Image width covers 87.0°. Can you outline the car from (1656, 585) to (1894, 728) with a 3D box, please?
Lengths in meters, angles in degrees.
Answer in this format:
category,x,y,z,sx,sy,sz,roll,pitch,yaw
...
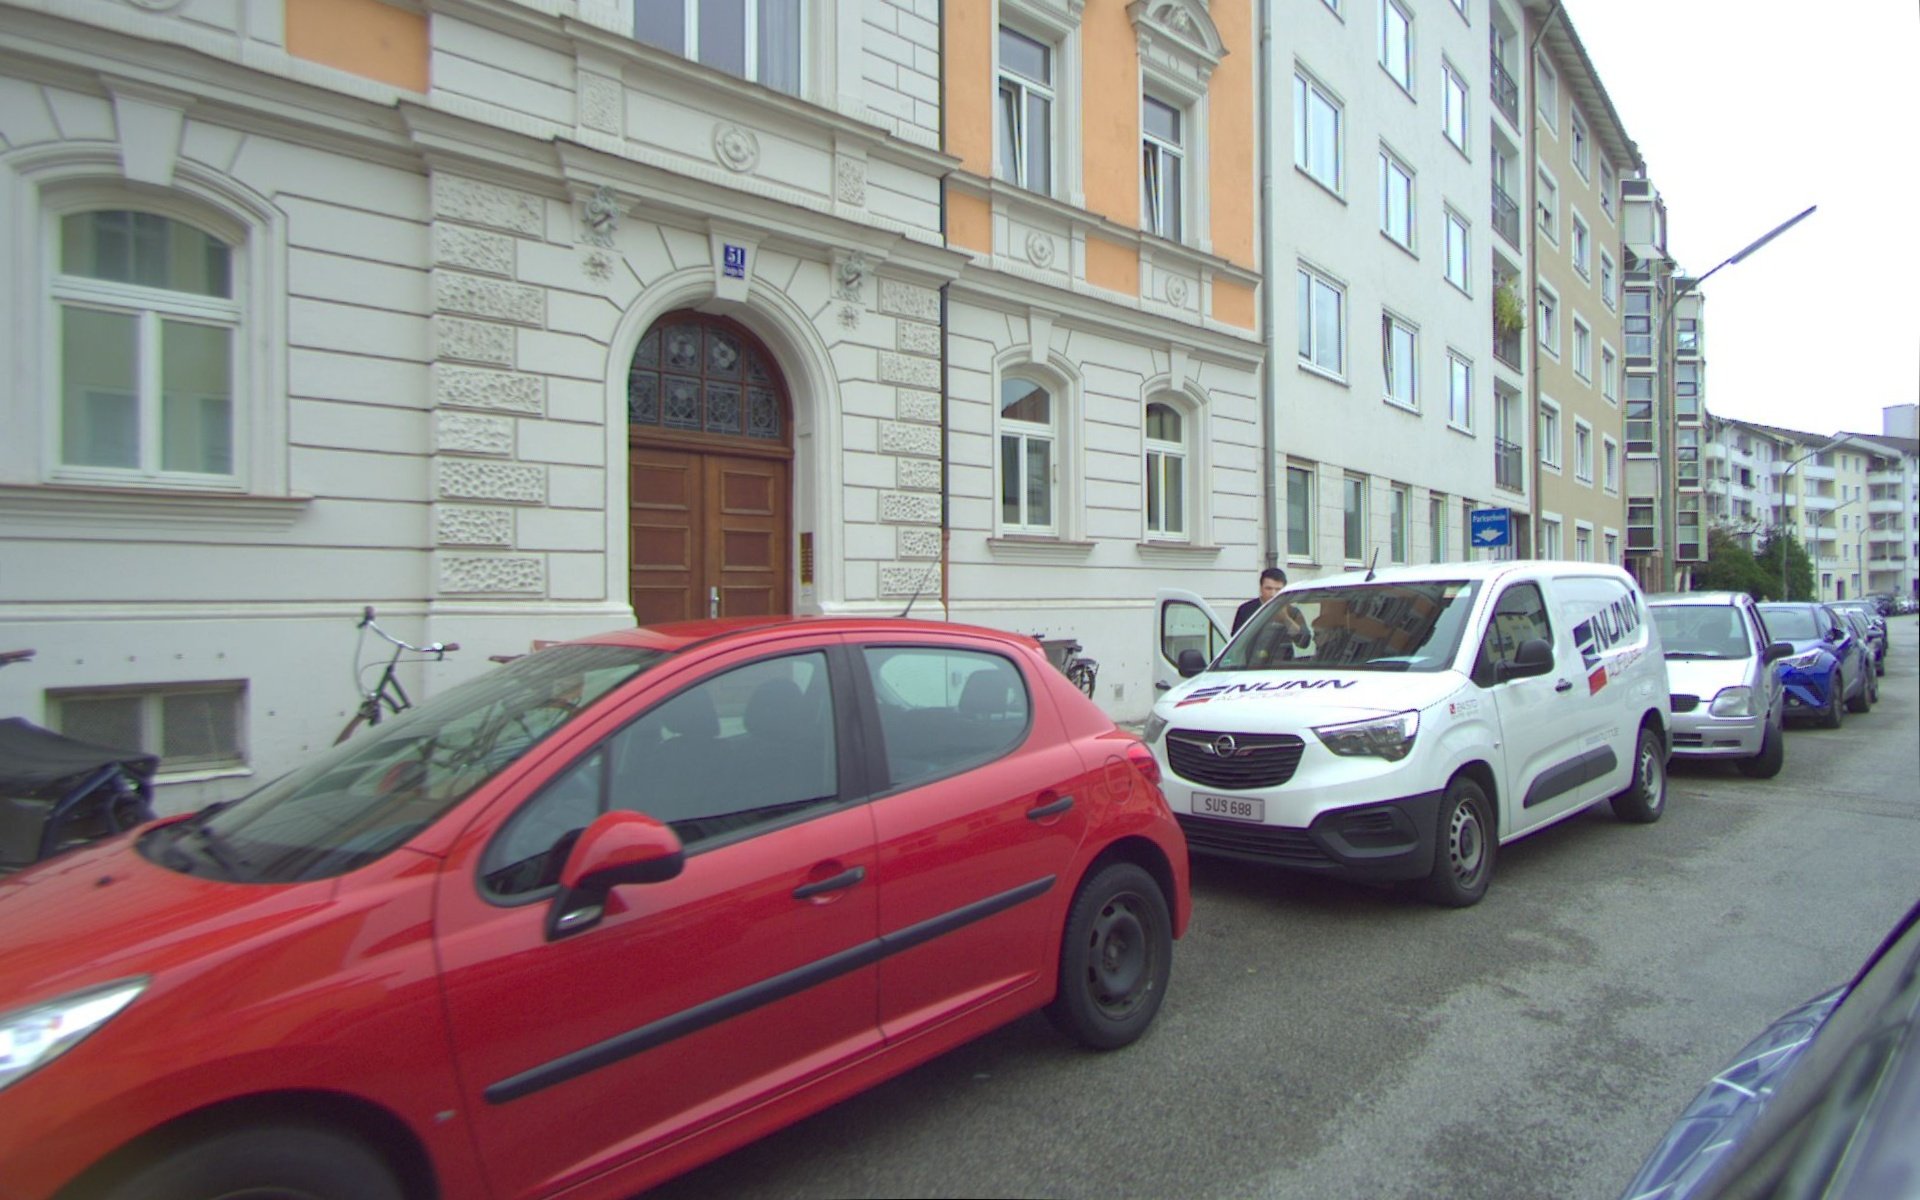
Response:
category,x,y,z,sx,sy,sz,roll,pitch,yaw
car,10.919,0.667,13.456,4.128,1.608,1.742,0,-2,-42

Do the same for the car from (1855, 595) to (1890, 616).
category,x,y,z,sx,sy,sz,roll,pitch,yaw
car,65.873,0.370,73.105,1.749,1.472,3.518,0,0,40

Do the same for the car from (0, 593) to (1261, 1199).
category,x,y,z,sx,sy,sz,roll,pitch,yaw
car,-0.969,0.758,3.015,4.229,1.470,1.600,0,-2,-43

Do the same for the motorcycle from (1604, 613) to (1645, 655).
category,x,y,z,sx,sy,sz,roll,pitch,yaw
motorcycle,18.920,0.938,28.799,1.769,1.140,0.628,0,-1,-45

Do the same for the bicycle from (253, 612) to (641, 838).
category,x,y,z,sx,sy,sz,roll,pitch,yaw
bicycle,-3.141,0.697,6.341,2.057,1.198,0.653,2,0,-38

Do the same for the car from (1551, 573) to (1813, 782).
category,x,y,z,sx,sy,sz,roll,pitch,yaw
car,7.199,0.633,9.956,1.602,1.663,3.575,-4,-2,43

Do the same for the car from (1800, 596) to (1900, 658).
category,x,y,z,sx,sy,sz,roll,pitch,yaw
car,24.141,0.667,27.400,1.890,1.481,4.420,1,1,43

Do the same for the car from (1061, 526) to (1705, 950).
category,x,y,z,sx,sy,sz,roll,pitch,yaw
car,3.022,0.615,6.610,4.808,1.809,1.843,0,-3,-40

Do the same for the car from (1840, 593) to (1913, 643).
category,x,y,z,sx,sy,sz,roll,pitch,yaw
car,31.050,0.571,34.373,1.735,1.599,3.777,-1,0,41

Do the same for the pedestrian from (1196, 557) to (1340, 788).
category,x,y,z,sx,sy,sz,roll,pitch,yaw
pedestrian,2.400,0.530,7.908,0.635,1.683,0.862,0,-1,-40

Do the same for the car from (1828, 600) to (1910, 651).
category,x,y,z,sx,sy,sz,roll,pitch,yaw
car,27.582,0.717,30.804,1.736,1.356,4.104,2,2,41

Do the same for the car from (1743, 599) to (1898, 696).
category,x,y,z,sx,sy,sz,roll,pitch,yaw
car,14.472,0.721,16.940,1.740,1.414,4.135,-3,-2,43

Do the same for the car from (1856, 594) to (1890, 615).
category,x,y,z,sx,sy,sz,roll,pitch,yaw
car,68.846,0.333,76.339,1.749,1.472,3.518,-1,-1,40

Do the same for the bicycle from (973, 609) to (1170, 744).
category,x,y,z,sx,sy,sz,roll,pitch,yaw
bicycle,1.150,0.719,10.075,2.057,1.198,0.653,2,0,-38

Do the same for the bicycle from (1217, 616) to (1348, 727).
category,x,y,z,sx,sy,sz,roll,pitch,yaw
bicycle,3.763,0.779,11.714,0.667,1.136,1.925,-2,-1,43

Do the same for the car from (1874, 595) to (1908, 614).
category,x,y,z,sx,sy,sz,roll,pitch,yaw
car,72.935,0.341,79.244,3.511,1.472,1.753,0,-1,-44

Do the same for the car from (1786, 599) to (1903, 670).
category,x,y,z,sx,sy,sz,roll,pitch,yaw
car,20.398,0.714,23.288,1.890,1.414,4.421,0,1,43
